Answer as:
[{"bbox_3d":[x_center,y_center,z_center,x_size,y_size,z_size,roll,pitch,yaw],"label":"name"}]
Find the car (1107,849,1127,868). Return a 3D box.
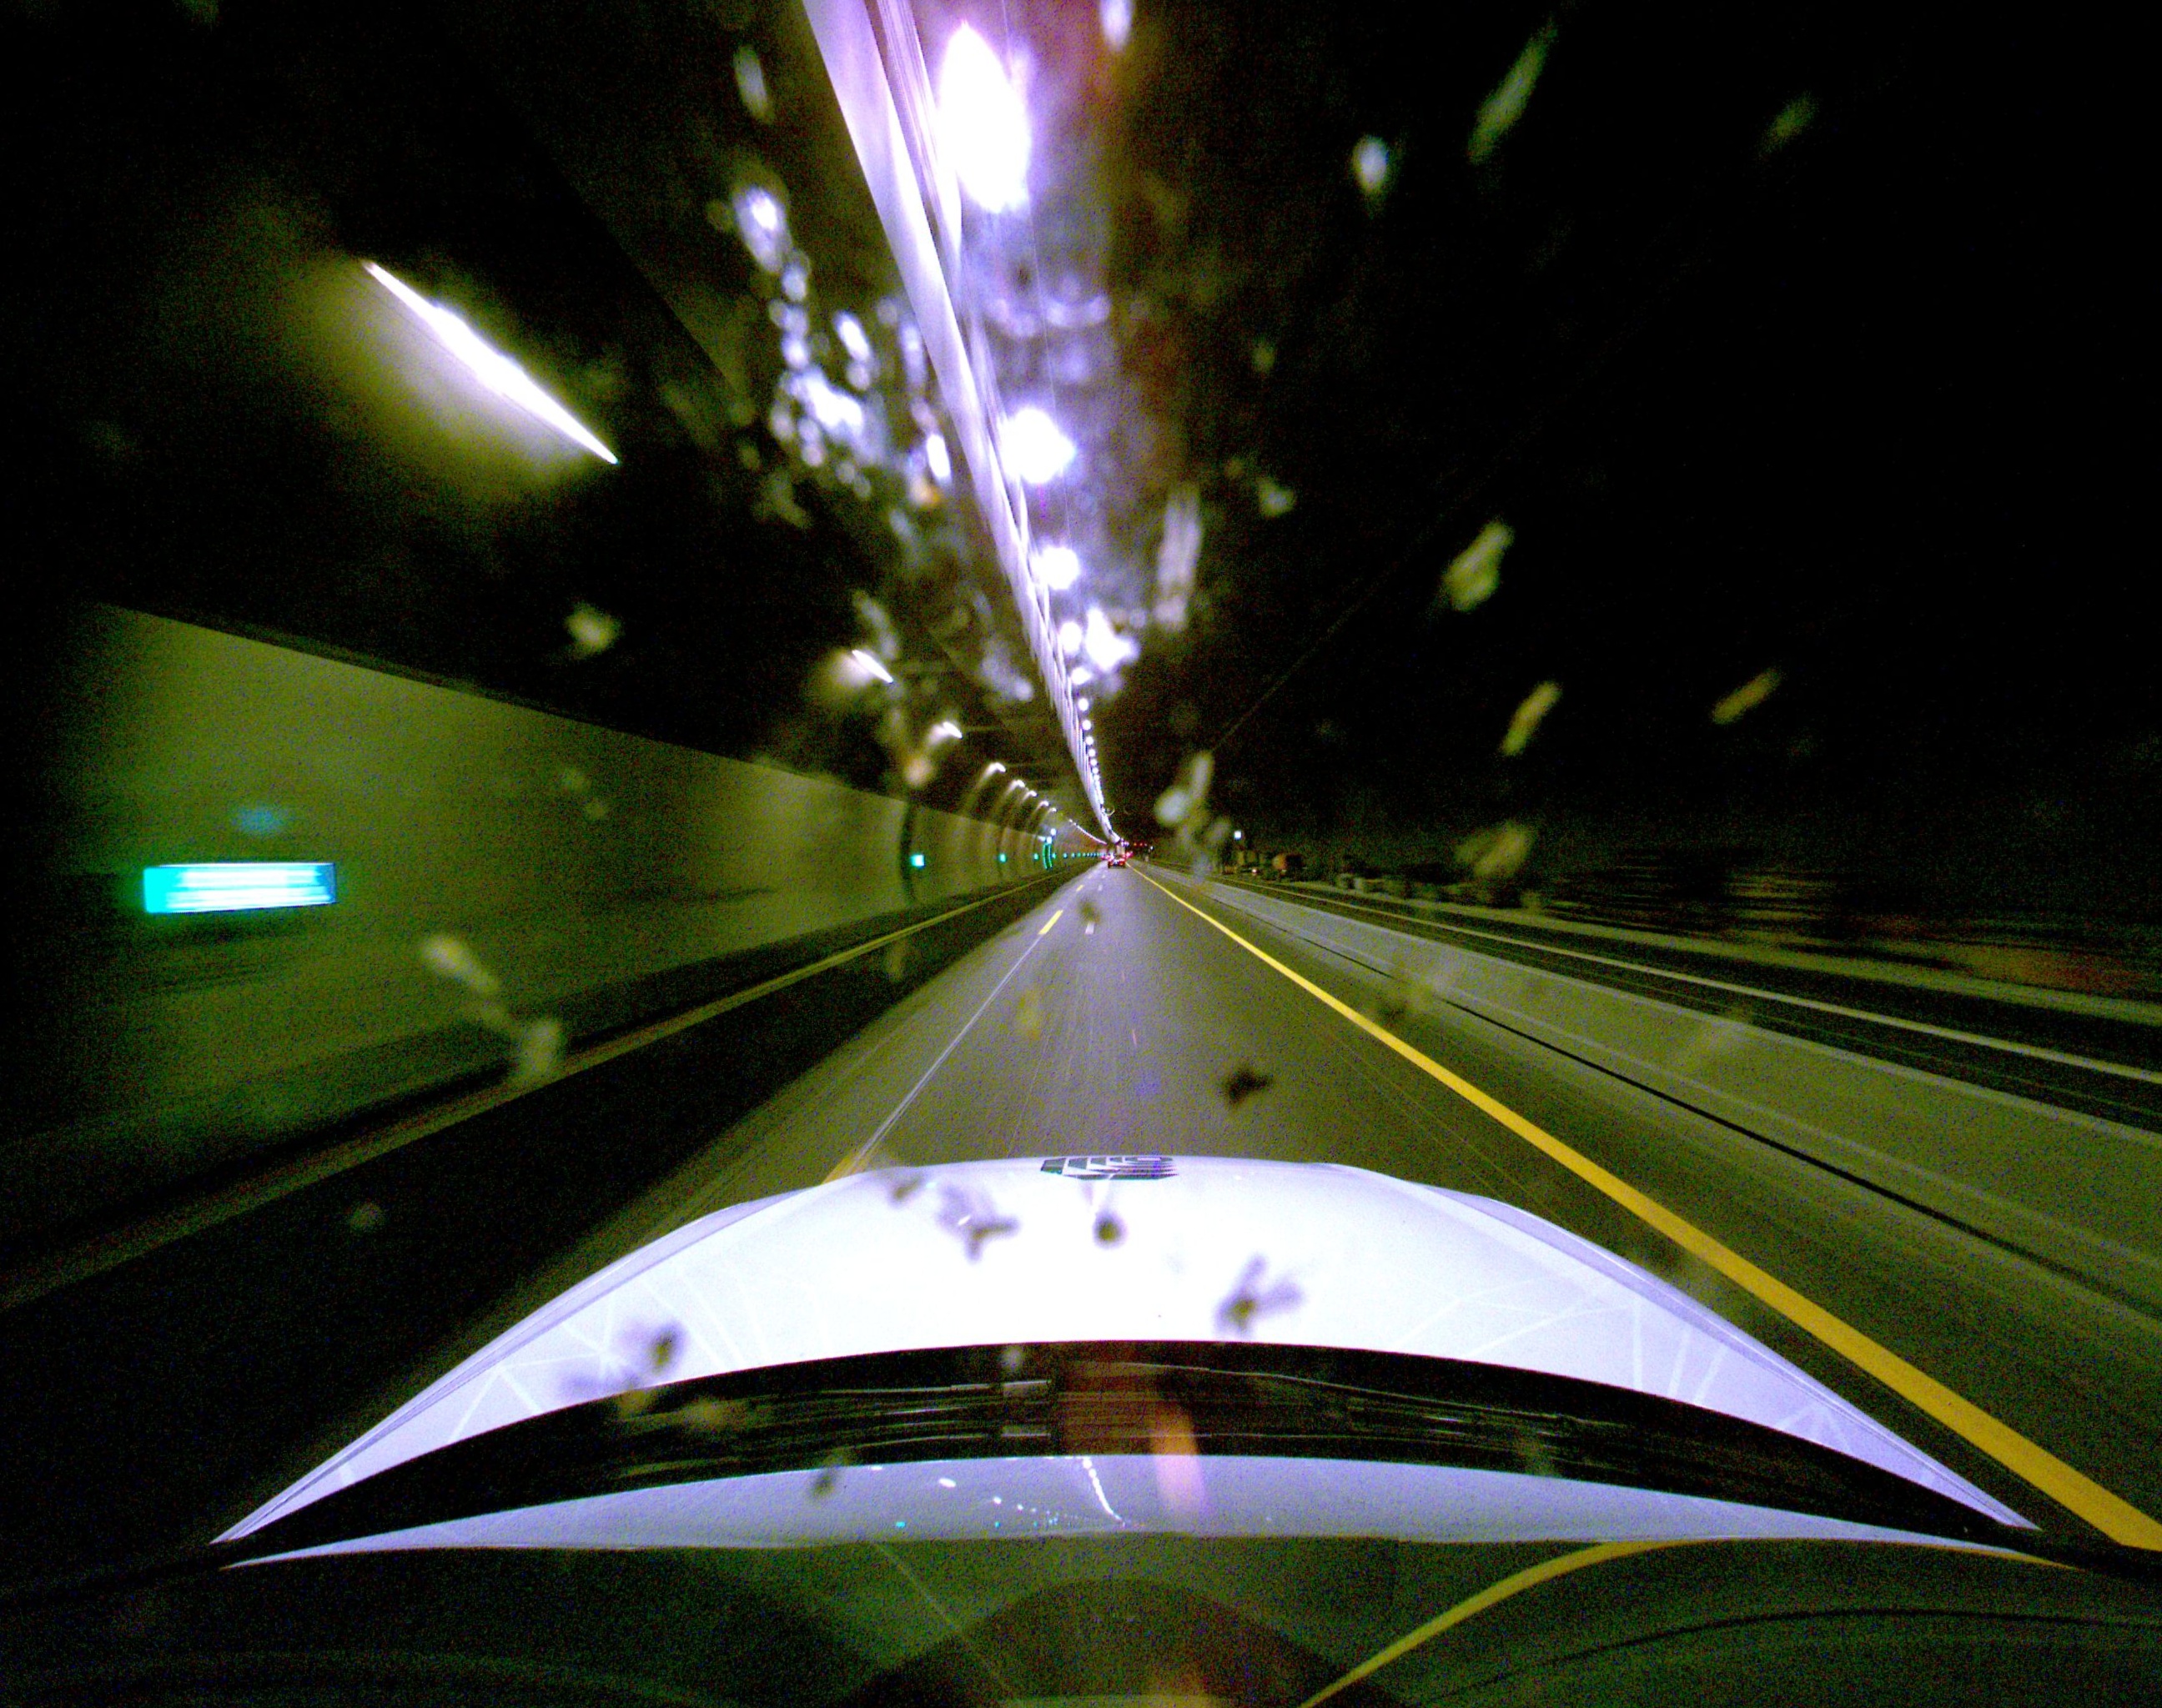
[{"bbox_3d":[3.812,0.466,86.783,1.940,1.794,4.000,-4,0,0],"label":"car"}]

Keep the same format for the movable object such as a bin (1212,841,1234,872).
[{"bbox_3d":[10.286,0.192,59.186,1.230,2.141,2.217,-2,0,2],"label":"movable object such as a bin"}]

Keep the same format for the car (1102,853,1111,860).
[{"bbox_3d":[6.236,0.572,197.877,1.922,1.687,4.003,-4,0,3],"label":"car"}]

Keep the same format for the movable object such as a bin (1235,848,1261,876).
[{"bbox_3d":[10.758,0.529,52.513,1.230,1.718,2.217,-2,0,2],"label":"movable object such as a bin"}]

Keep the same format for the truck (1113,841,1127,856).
[{"bbox_3d":[12.588,-1.769,263.826,4.050,4.532,14.973,-3,0,2],"label":"truck"}]

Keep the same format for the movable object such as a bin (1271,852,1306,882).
[{"bbox_3d":[10.454,0.620,41.162,1.230,1.442,2.217,-2,0,2],"label":"movable object such as a bin"}]
